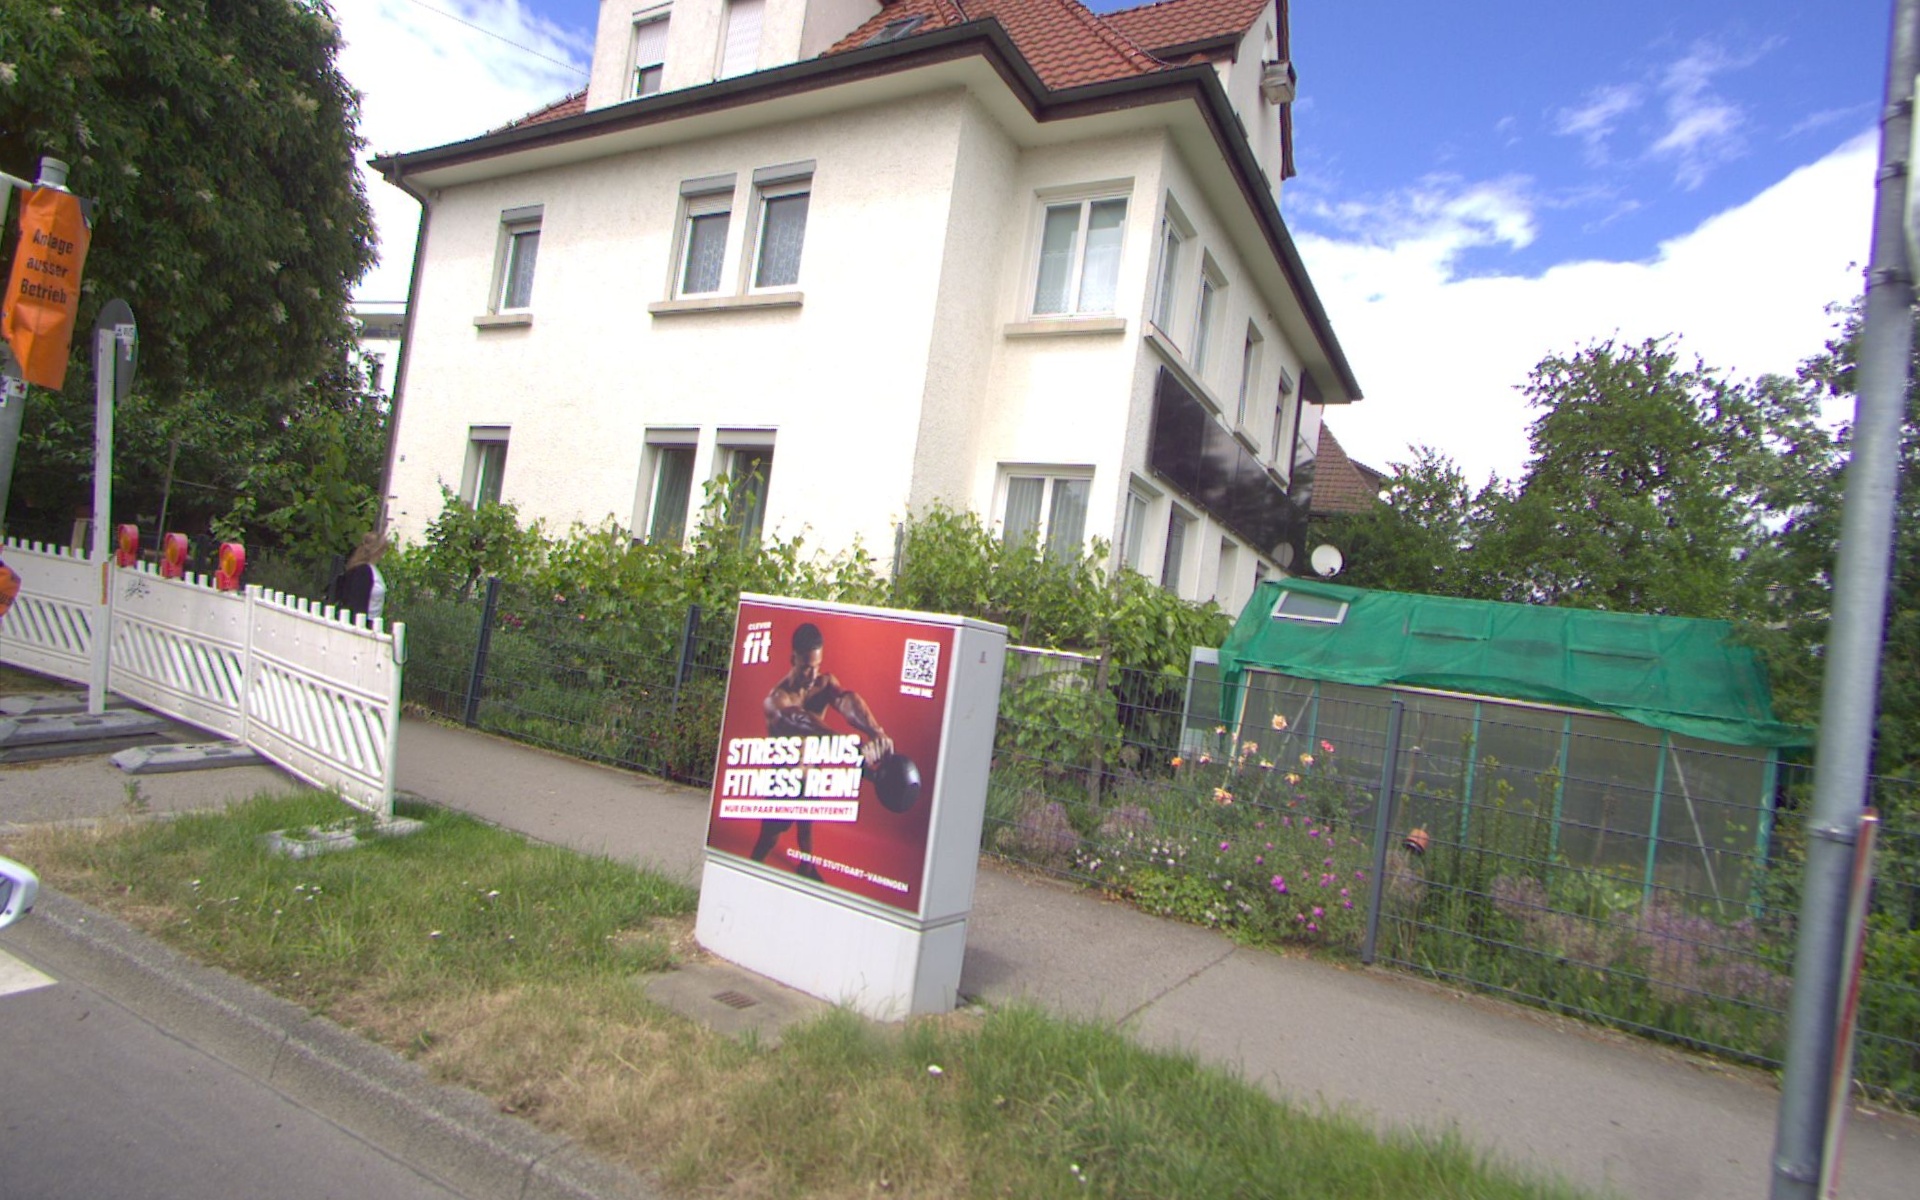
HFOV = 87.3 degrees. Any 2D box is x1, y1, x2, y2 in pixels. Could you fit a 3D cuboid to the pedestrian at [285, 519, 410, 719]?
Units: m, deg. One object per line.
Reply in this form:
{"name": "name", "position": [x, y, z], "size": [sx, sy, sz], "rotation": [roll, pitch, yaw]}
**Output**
{"name": "pedestrian", "position": [-5.133, 0.163, 8.467], "size": [0.627, 1.557, 0.520], "rotation": [8, -1, -20]}
